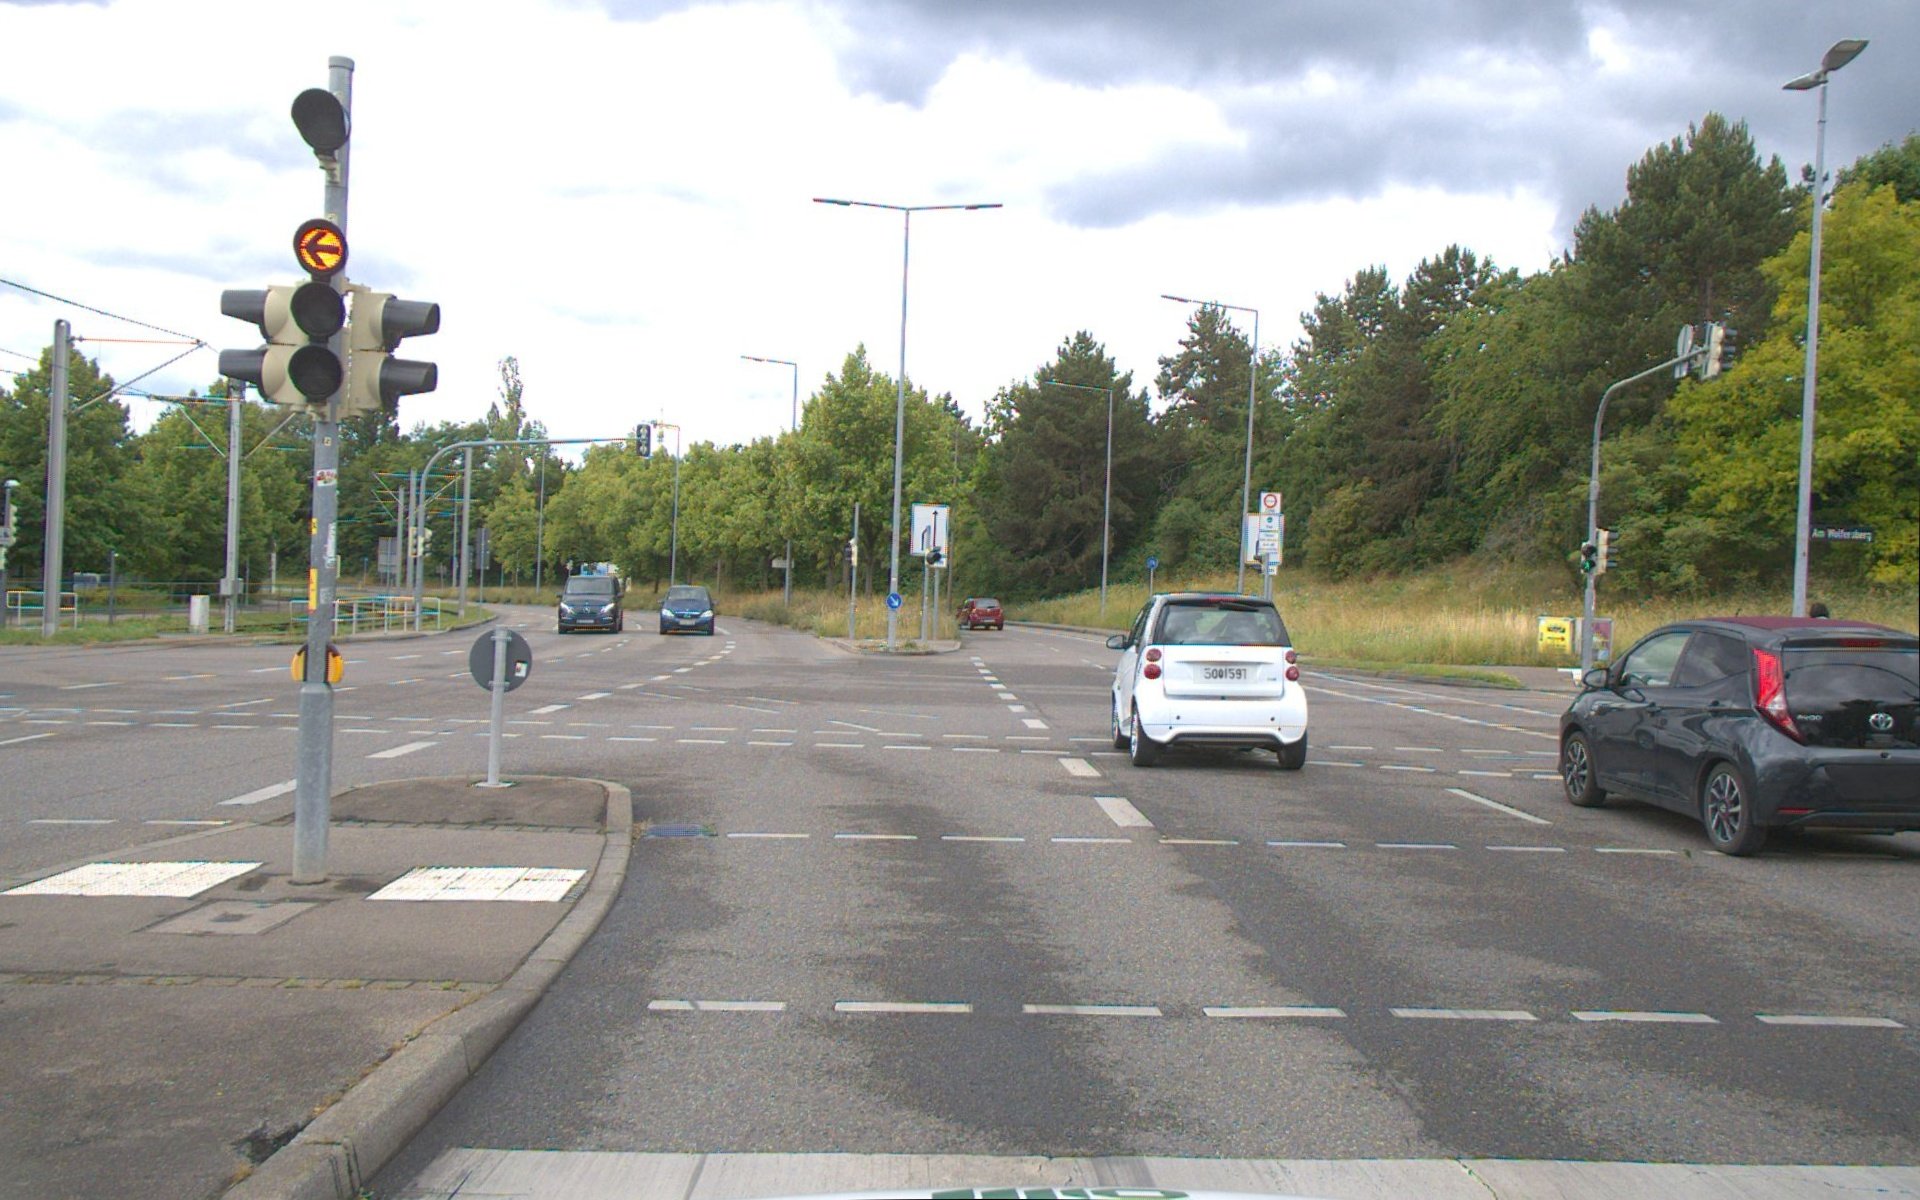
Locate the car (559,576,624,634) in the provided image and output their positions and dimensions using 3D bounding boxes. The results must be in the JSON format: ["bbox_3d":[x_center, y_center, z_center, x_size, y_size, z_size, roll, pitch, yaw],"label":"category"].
[{"bbox_3d":[-12.215,0.146,55.027,1.853,1.844,5.080,0,0,-10],"label":"car"}]

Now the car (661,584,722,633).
[{"bbox_3d":[-8.812,0.289,54.548,1.702,1.535,3.656,1,0,-5],"label":"car"}]

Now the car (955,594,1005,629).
[{"bbox_3d":[0.948,0.572,80.305,1.752,1.631,3.878,1,0,-10],"label":"car"}]

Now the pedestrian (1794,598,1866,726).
[{"bbox_3d":[11.777,0.831,22.416,0.630,1.691,0.714,1,-1,6],"label":"pedestrian"}]

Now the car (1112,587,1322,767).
[{"bbox_3d":[2.368,0.680,15.786,1.559,1.543,2.766,1,0,0],"label":"car"}]

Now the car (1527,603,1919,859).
[{"bbox_3d":[5.463,0.779,11.607,1.580,1.479,3.881,1,0,-1],"label":"car"}]

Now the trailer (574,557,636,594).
[{"bbox_3d":[-30.446,-2.076,141.776,2.729,3.065,6.000,1,-1,-40],"label":"trailer"}]
